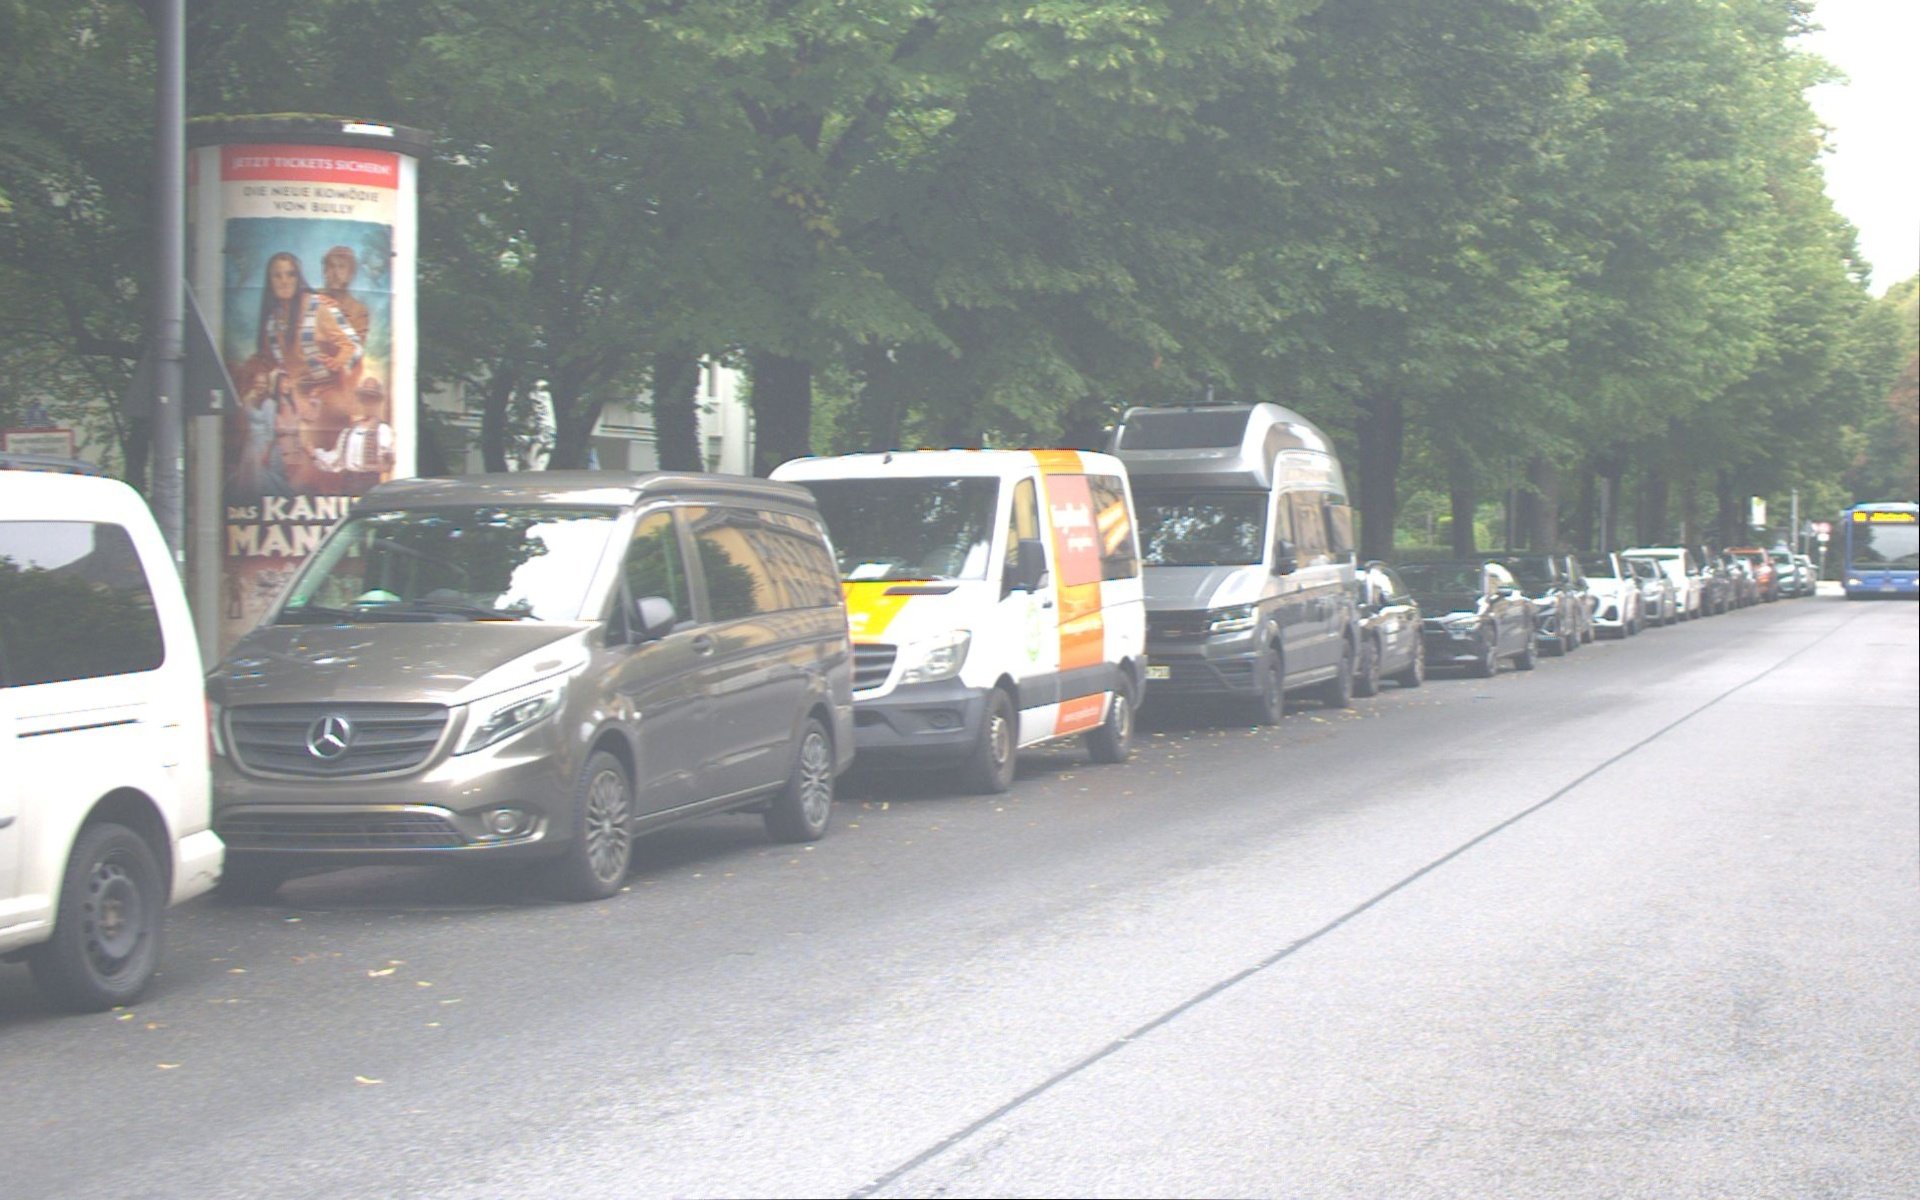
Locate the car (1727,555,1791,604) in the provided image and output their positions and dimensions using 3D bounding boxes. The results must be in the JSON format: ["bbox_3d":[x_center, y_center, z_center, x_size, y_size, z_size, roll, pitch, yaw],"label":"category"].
[{"bbox_3d":[26.418,-0.690,113.553,1.854,1.566,3.997,1,1,16],"label":"car"}]

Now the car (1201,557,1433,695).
[{"bbox_3d":[4.007,0.247,38.049,1.876,1.412,3.997,1,1,16],"label":"car"}]

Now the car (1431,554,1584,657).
[{"bbox_3d":[8.255,0.049,51.584,1.853,1.468,3.997,1,1,15],"label":"car"}]

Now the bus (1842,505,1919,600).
[{"bbox_3d":[30.694,-1.555,112.670,2.715,2.889,14.542,1,1,17],"label":"bus"}]

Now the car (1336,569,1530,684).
[{"bbox_3d":[6.000,0.296,43.244,1.876,1.343,3.997,1,1,16],"label":"car"}]

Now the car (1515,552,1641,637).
[{"bbox_3d":[11.218,-0.123,62.228,1.854,1.468,3.997,1,1,16],"label":"car"}]

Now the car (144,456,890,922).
[{"bbox_3d":[-1.937,0.340,16.966,1.888,1.927,5.205,0,1,14],"label":"car"}]

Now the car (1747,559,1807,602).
[{"bbox_3d":[28.364,-0.689,119.241,1.854,1.468,3.997,1,1,16],"label":"car"}]

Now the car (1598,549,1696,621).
[{"bbox_3d":[15.506,-0.359,77.449,1.854,1.558,3.997,1,1,16],"label":"car"}]

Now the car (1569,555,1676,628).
[{"bbox_3d":[13.897,-0.200,71.972,1.854,1.468,3.997,1,1,16],"label":"car"}]

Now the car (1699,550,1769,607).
[{"bbox_3d":[23.705,-0.673,105.261,1.854,1.695,3.997,1,1,16],"label":"car"}]

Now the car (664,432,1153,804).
[{"bbox_3d":[-0.193,0.080,23.727,1.948,2.265,5.239,0,1,16],"label":"car"}]

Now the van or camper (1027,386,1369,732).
[{"bbox_3d":[2.369,-0.377,32.291,2.002,2.935,6.006,0,1,16],"label":"van or camper"}]

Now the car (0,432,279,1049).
[{"bbox_3d":[-4.043,0.448,10.300,1.831,1.912,4.845,0,1,17],"label":"car"}]
